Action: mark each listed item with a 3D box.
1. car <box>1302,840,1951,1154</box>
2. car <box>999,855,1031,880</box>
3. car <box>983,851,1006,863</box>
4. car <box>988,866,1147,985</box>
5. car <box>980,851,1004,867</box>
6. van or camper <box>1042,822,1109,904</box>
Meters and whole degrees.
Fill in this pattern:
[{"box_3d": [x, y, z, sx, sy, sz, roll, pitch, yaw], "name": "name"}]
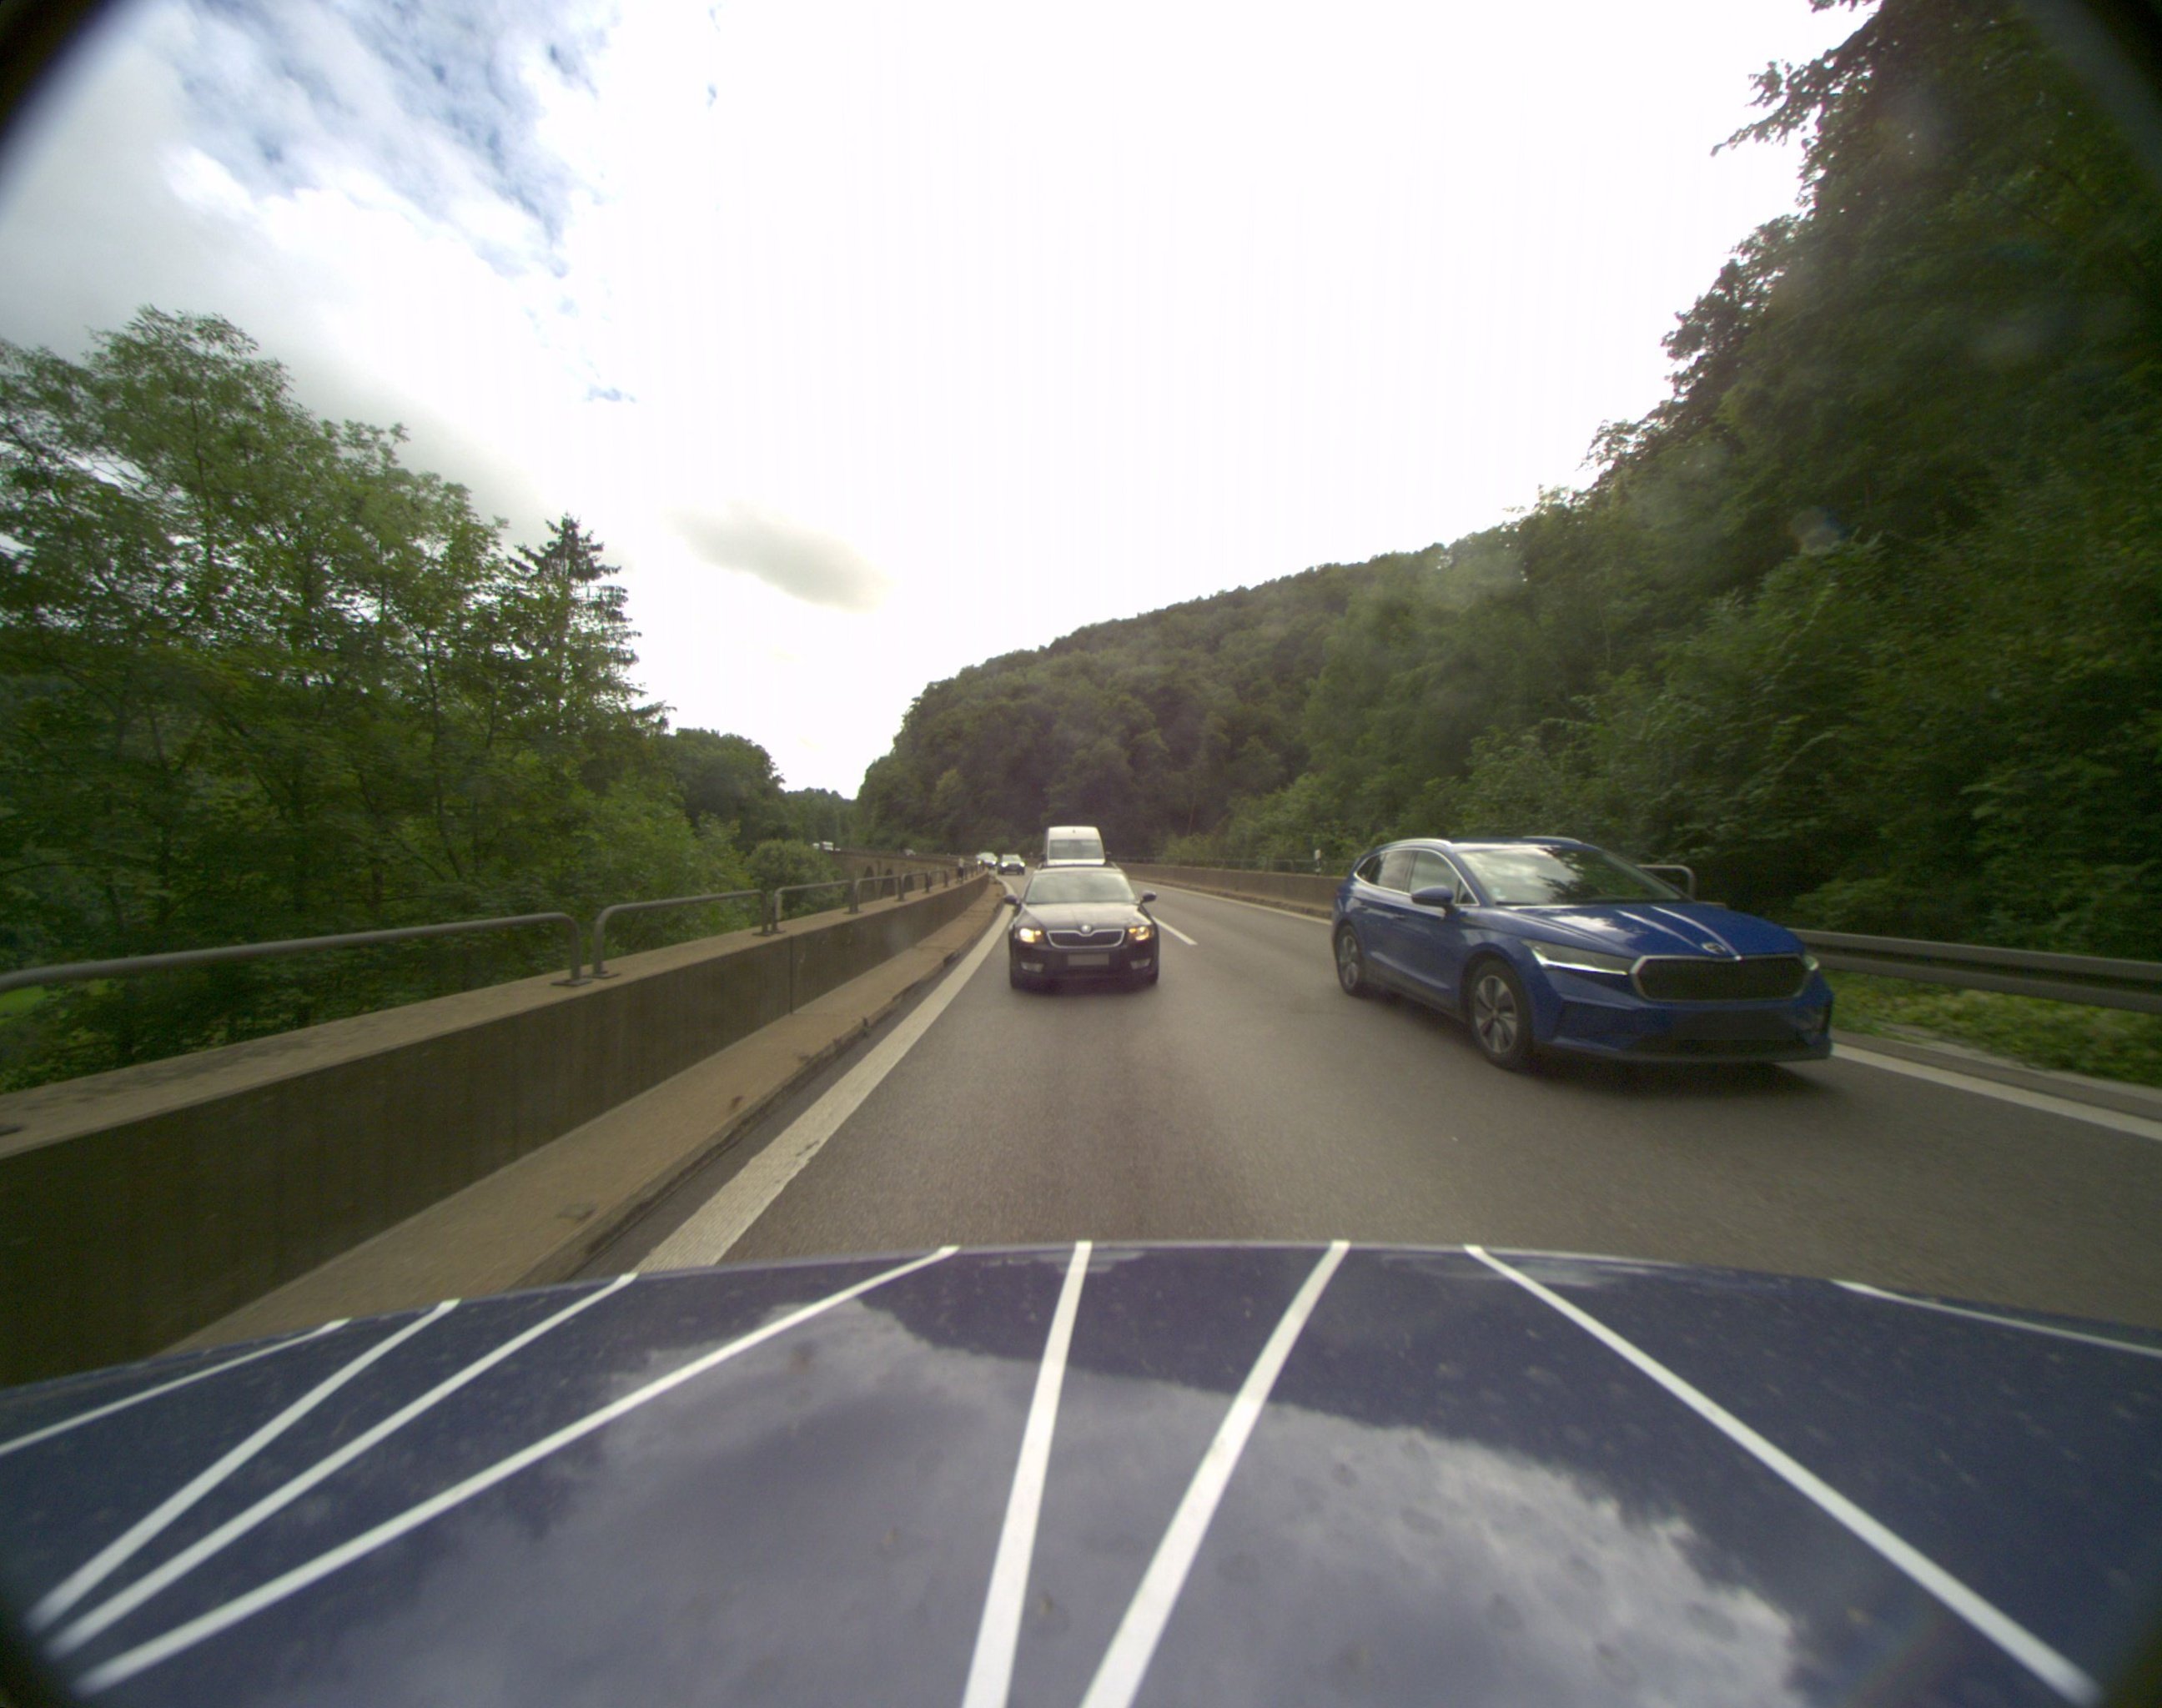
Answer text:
[{"box_3d": [3.707, 0.764, 6.638, 1.999, 1.622, 5.007, -3, 0, -1], "name": "car"}, {"box_3d": [-4.991, 0.991, 56.790, 1.966, 1.696, 3.996, -2, 1, -10], "name": "car"}, {"box_3d": [-10.229, 0.290, 89.462, 1.890, 1.312, 3.993, -2, 1, -19], "name": "car"}, {"box_3d": [-0.161, 0.949, 12.193, 1.998, 1.389, 5.008, -1, 0, 0], "name": "car"}, {"box_3d": [-8.506, 0.463, 72.525, 1.889, 1.312, 3.995, -2, 1, -12], "name": "car"}, {"box_3d": [-0.322, 0.255, 26.949, 2.082, 2.575, 5.909, -1, 1, -3], "name": "van or camper"}]
